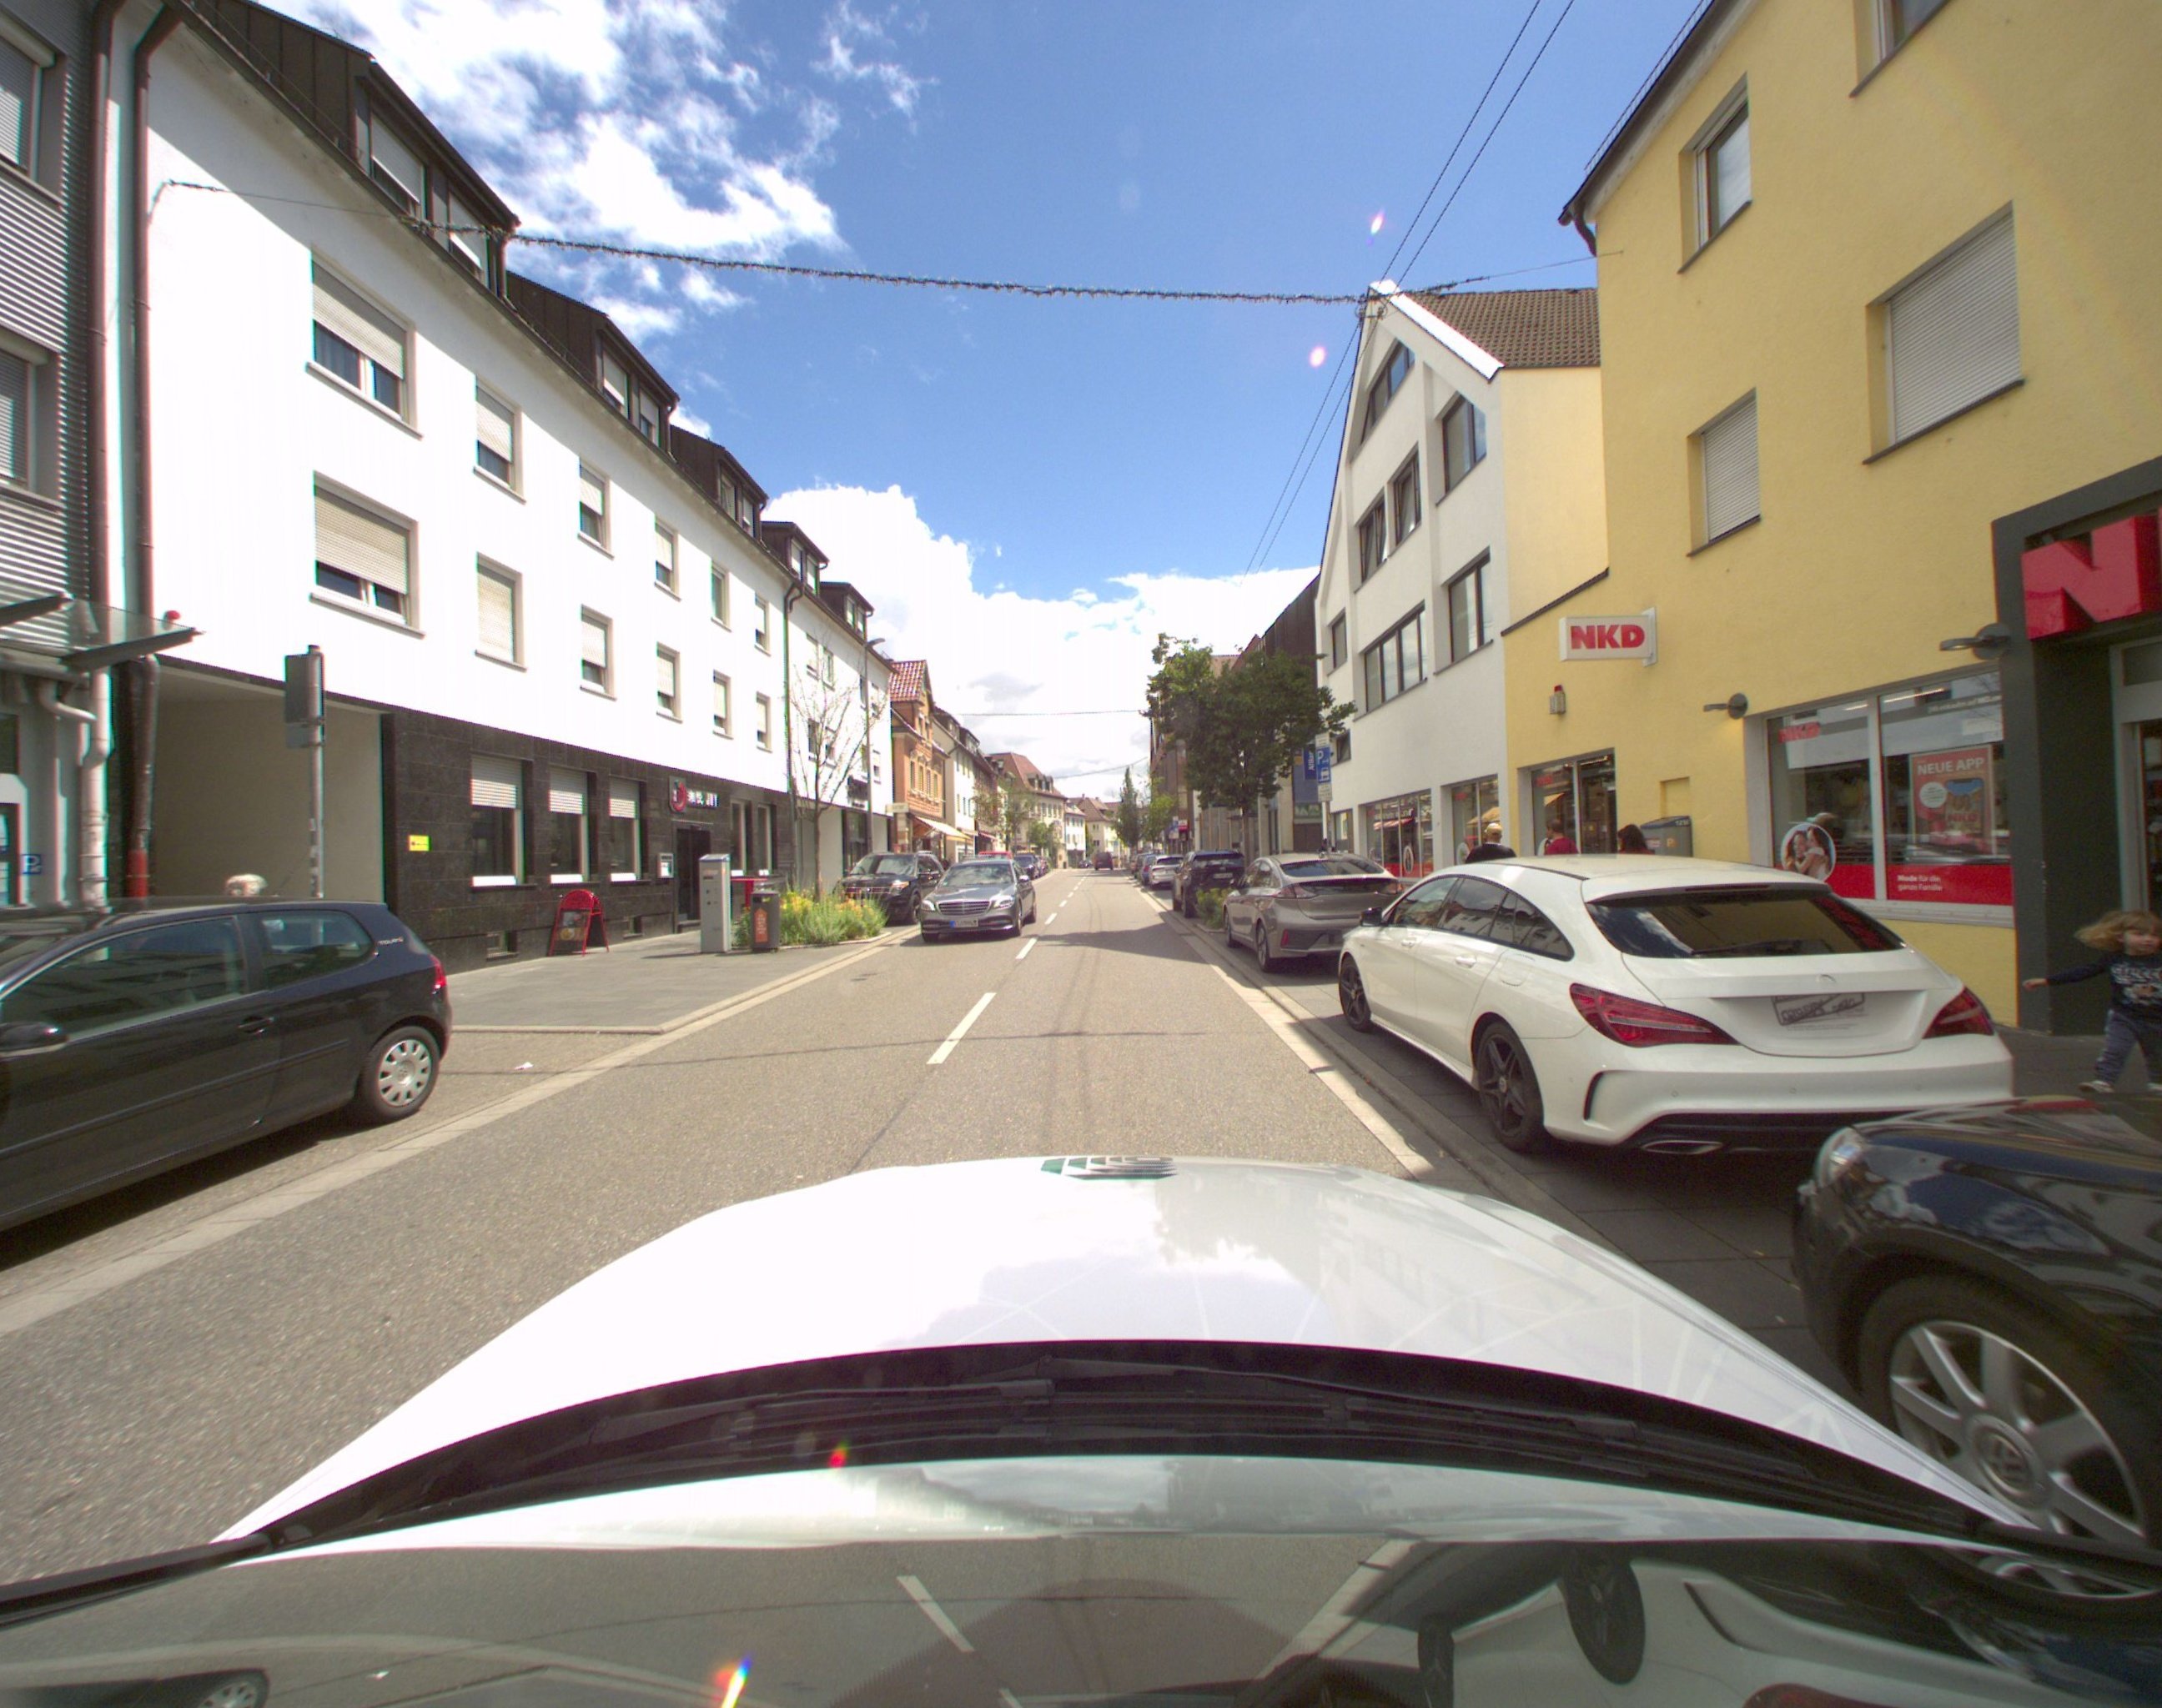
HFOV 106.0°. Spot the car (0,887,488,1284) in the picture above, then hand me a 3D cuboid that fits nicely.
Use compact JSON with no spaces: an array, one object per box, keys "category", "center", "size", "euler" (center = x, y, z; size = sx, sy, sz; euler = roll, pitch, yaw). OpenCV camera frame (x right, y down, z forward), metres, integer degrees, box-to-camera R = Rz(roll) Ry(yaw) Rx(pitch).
[{"category":"car","center":[-5.205,0.971,3.858],"size":[1.785,1.503,4.175],"euler":[0,-1,-1]}]

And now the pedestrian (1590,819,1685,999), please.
[{"category":"pedestrian","center":[5.861,0.563,8.601],"size":[0.585,1.841,0.576],"euler":[0,-1,2]}]

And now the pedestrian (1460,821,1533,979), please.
[{"category":"pedestrian","center":[4.986,0.541,9.801],"size":[0.585,1.841,0.576],"euler":[0,-1,2]}]

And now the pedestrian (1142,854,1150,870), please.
[{"category":"pedestrian","center":[6.456,0.825,80.903],"size":[0.781,1.616,0.800],"euler":[0,-1,1]}]

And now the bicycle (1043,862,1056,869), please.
[{"category":"bicycle","center":[-4.253,1.551,110.094],"size":[1.619,1.031,0.570],"euler":[0,-1,16]}]

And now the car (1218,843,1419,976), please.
[{"category":"car","center":[3.026,0.655,11.314],"size":[1.714,1.476,4.357],"euler":[0,-1,3]}]

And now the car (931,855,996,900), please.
[{"category":"car","center":[-4.786,0.953,33.823],"size":[1.809,1.755,4.467],"euler":[0,-1,3]}]

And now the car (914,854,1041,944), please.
[{"category":"car","center":[-1.998,0.812,17.154],"size":[1.898,1.563,4.648],"euler":[-2,0,2]}]

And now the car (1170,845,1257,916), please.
[{"category":"car","center":[3.208,0.626,20.414],"size":[1.714,1.577,4.112],"euler":[0,-1,3]}]

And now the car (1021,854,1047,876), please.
[{"category":"car","center":[-3.746,0.856,65.316],"size":[1.794,1.604,4.217],"euler":[-2,0,0]}]

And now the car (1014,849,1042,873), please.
[{"category":"car","center":[-3.836,0.517,59.597],"size":[1.794,1.604,4.348],"euler":[-2,0,-2]}]

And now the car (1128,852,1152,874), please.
[{"category":"car","center":[4.567,0.701,63.367],"size":[1.603,1.495,3.797],"euler":[-5,0,3]}]

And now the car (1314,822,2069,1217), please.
[{"category":"car","center":[3.000,0.657,5.558],"size":[1.624,1.476,4.960],"euler":[0,-1,3]}]

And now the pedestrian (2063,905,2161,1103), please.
[{"category":"pedestrian","center":[5.609,0.783,4.350],"size":[0.347,1.000,0.296],"euler":[-2,-1,26]}]

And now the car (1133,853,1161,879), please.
[{"category":"car","center":[4.102,0.732,51.135],"size":[1.603,1.532,3.797],"euler":[-3,0,3]}]

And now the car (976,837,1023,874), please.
[{"category":"car","center":[-4.228,0.112,43.125],"size":[1.809,1.889,4.843],"euler":[0,-1,2]}]

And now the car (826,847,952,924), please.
[{"category":"car","center":[-4.744,0.759,20.911],"size":[1.808,1.755,4.674],"euler":[0,-1,4]}]

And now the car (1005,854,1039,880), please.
[{"category":"car","center":[-3.871,0.823,54.291],"size":[1.792,1.598,4.390],"euler":[-1,0,2]}]

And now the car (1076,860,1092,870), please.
[{"category":"car","center":[0.493,1.724,122.893],"size":[1.613,1.486,3.818],"euler":[0,-1,13]}]

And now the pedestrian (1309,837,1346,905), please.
[{"category":"pedestrian","center":[6.432,0.450,21.295],"size":[0.738,1.737,0.757],"euler":[0,-1,2]}]

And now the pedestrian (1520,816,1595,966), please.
[{"category":"pedestrian","center":[5.996,0.456,10.271],"size":[0.585,1.841,0.576],"euler":[0,-1,2]}]

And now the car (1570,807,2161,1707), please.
[{"category":"car","center":[2.576,0.674,0.587],"size":[1.684,1.472,4.522],"euler":[0,1,-1]}]

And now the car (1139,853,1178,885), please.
[{"category":"car","center":[3.801,0.743,40.475],"size":[1.714,1.494,4.112],"euler":[0,-1,3]}]

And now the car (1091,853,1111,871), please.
[{"category":"car","center":[2.125,0.868,87.409],"size":[2.034,1.848,4.998],"euler":[0,-1,0]}]

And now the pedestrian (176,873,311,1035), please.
[{"category":"pedestrian","center":[-7.830,0.912,7.636],"size":[0.651,1.455,0.563],"euler":[0,-1,1]}]

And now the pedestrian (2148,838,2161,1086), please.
[{"category":"pedestrian","center":[6.064,0.590,4.187],"size":[0.441,1.364,0.541],"euler":[-2,0,17]}]

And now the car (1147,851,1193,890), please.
[{"category":"car","center":[3.777,0.690,35.057],"size":[1.714,1.577,4.431],"euler":[0,-1,3]}]
